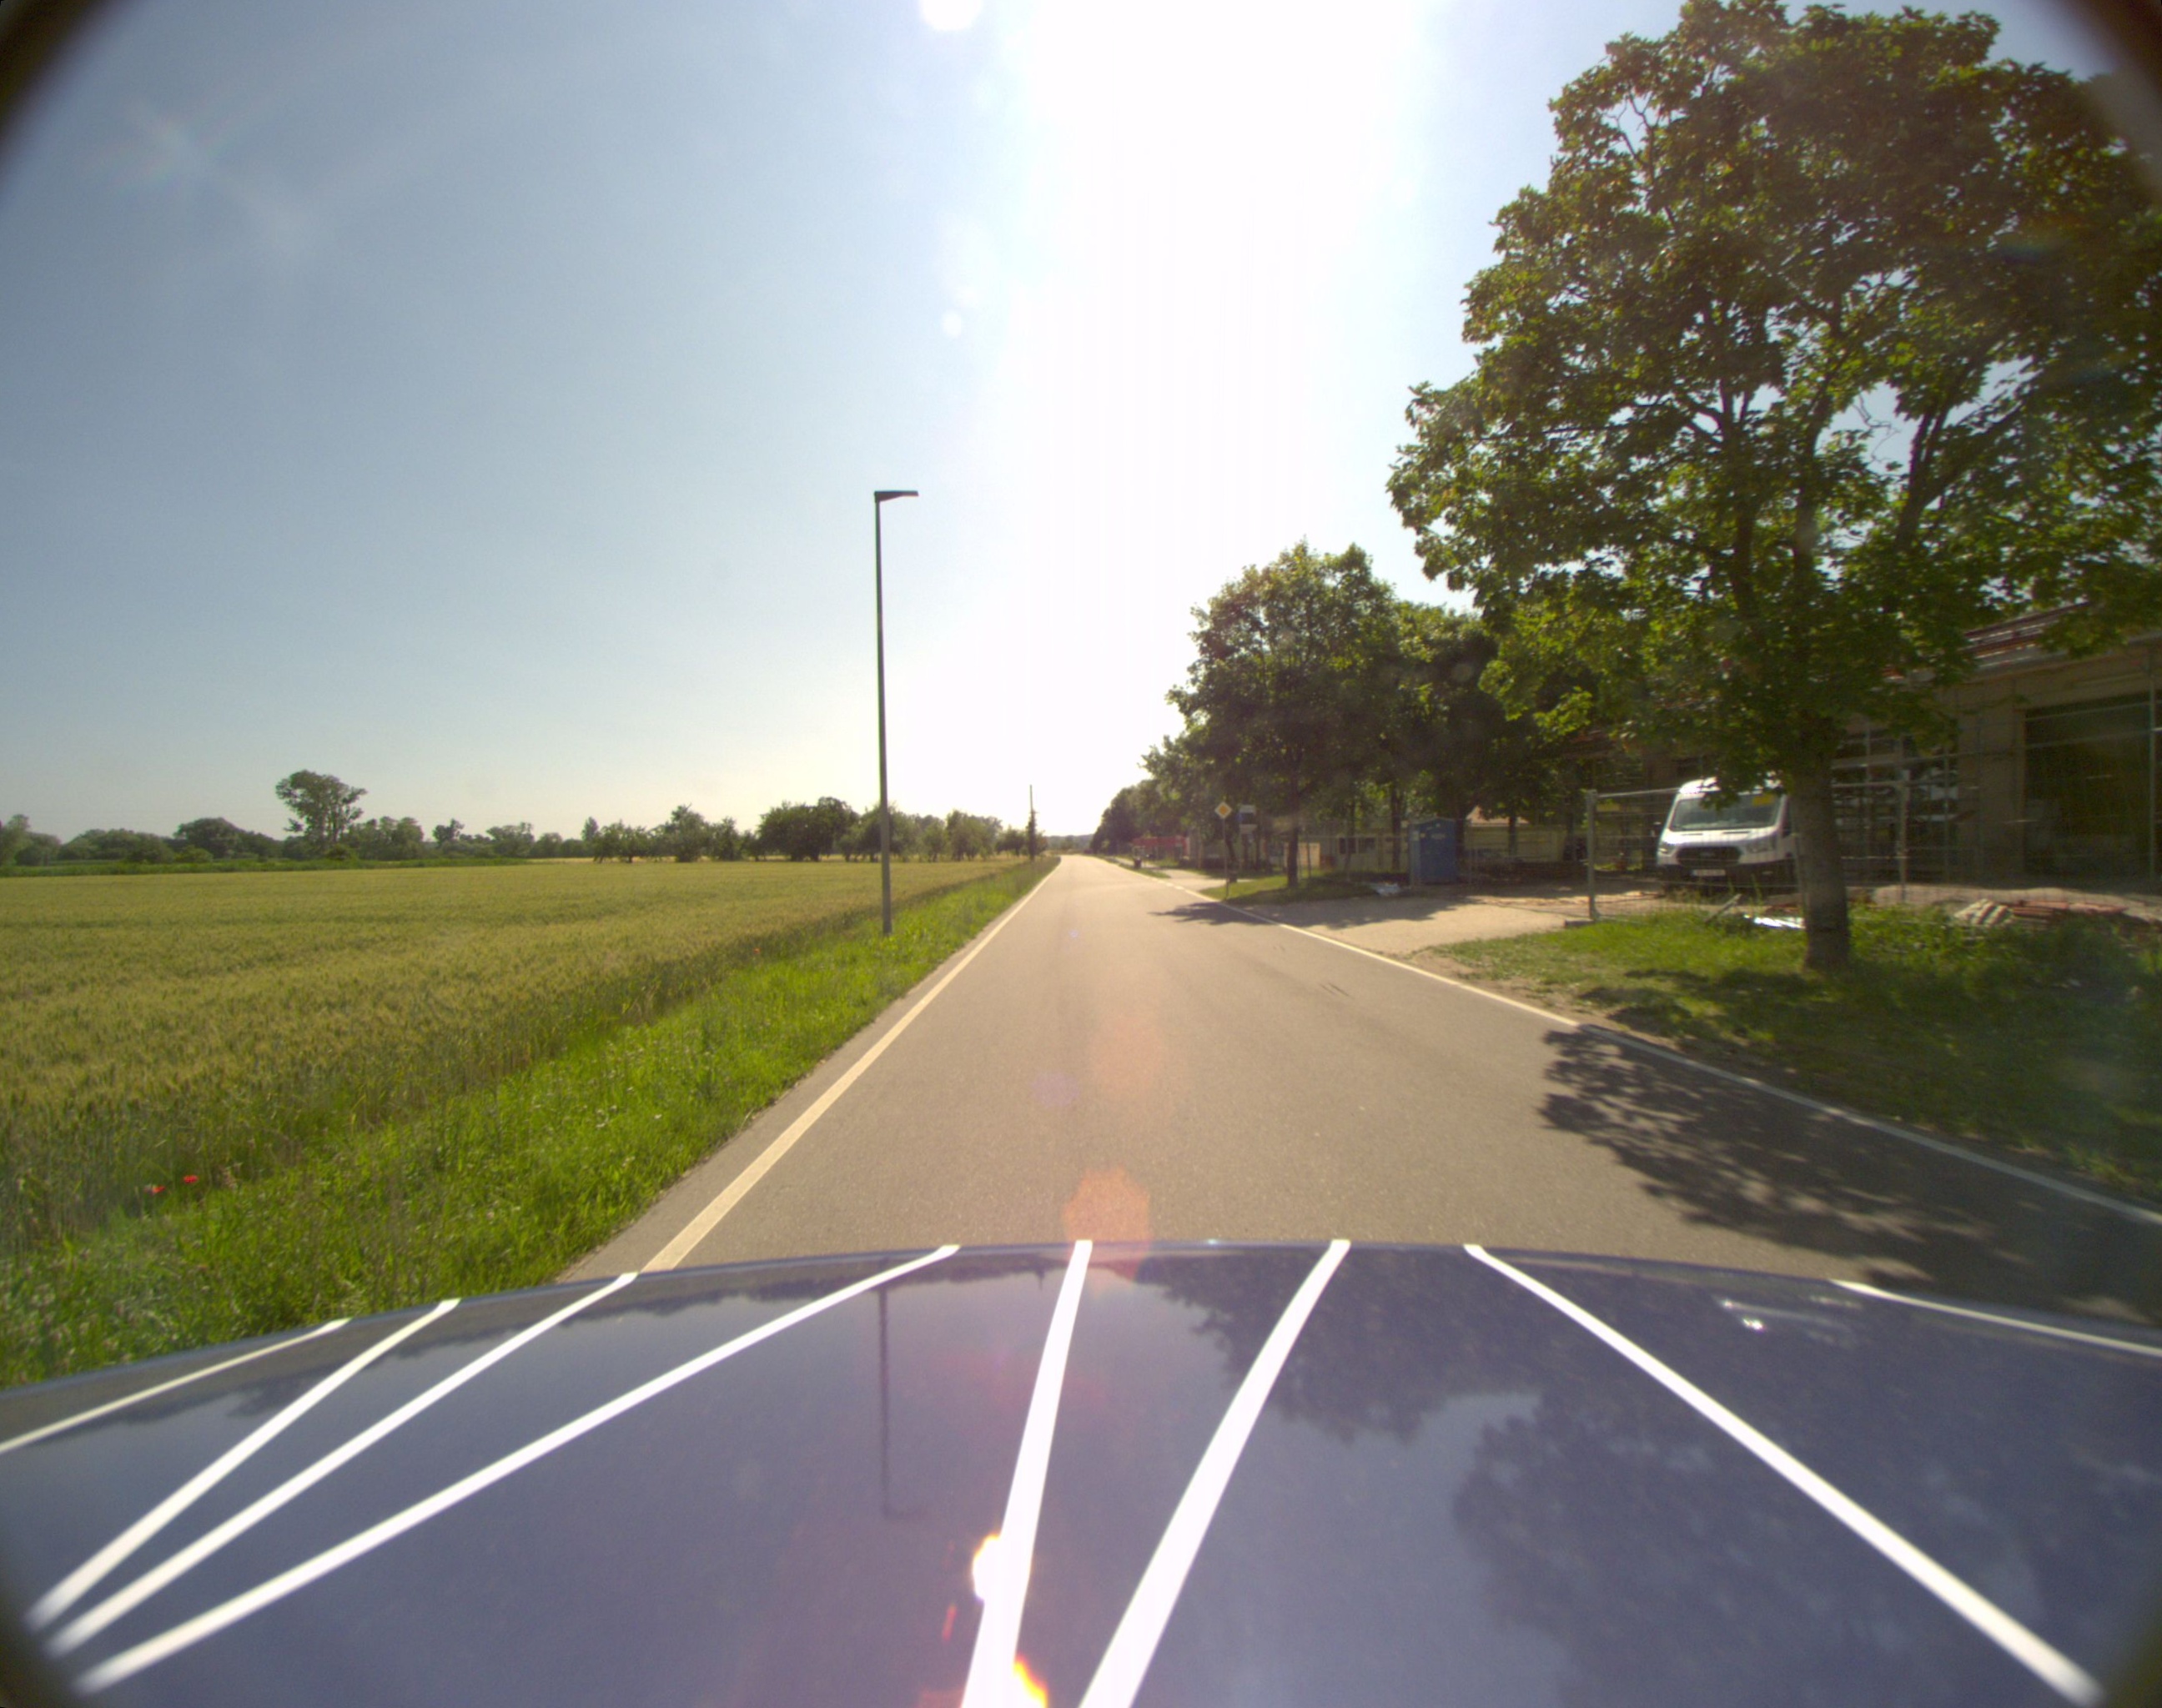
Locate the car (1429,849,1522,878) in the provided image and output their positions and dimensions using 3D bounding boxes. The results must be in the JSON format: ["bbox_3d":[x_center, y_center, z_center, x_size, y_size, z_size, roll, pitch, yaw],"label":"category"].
[{"bbox_3d":[19.780,0.452,38.168,3.812,1.391,1.757,-1,1,-8],"label":"car"}]

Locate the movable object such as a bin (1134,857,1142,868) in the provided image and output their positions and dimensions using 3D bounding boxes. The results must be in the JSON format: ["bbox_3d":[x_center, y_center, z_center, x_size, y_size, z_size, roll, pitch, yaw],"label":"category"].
[{"bbox_3d":[4.306,0.630,56.927,0.563,0.872,0.614,0,1,7],"label":"movable object such as a bin"}]

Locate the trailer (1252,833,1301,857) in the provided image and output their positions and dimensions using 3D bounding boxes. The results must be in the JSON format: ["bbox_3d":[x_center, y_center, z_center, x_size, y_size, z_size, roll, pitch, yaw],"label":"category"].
[{"bbox_3d":[19.002,-0.859,73.828,4.239,2.264,1.826,-1,1,-14],"label":"trailer"}]

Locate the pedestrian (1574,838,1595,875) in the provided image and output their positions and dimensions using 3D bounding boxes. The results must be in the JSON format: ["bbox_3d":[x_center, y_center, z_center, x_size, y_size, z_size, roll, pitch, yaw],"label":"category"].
[{"bbox_3d":[24.003,0.098,36.222,0.605,1.741,0.586,-1,1,-10],"label":"pedestrian"}]

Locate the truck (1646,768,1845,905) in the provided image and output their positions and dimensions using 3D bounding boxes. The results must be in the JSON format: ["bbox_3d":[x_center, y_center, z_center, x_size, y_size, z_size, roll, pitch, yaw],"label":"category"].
[{"bbox_3d":[14.352,-0.438,16.258,5.942,2.469,1.995,-3,1,-37],"label":"truck"}]

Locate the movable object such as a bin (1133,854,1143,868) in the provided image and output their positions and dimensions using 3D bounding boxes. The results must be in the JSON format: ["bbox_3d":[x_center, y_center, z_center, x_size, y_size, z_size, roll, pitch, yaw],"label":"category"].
[{"bbox_3d":[4.348,0.543,57.655,0.700,1.018,0.748,0,1,7],"label":"movable object such as a bin"}]

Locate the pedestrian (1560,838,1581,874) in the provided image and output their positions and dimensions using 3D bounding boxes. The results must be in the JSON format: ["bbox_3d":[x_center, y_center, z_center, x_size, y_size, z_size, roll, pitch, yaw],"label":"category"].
[{"bbox_3d":[23.860,0.090,37.036,0.605,1.741,0.586,-1,1,-10],"label":"pedestrian"}]
